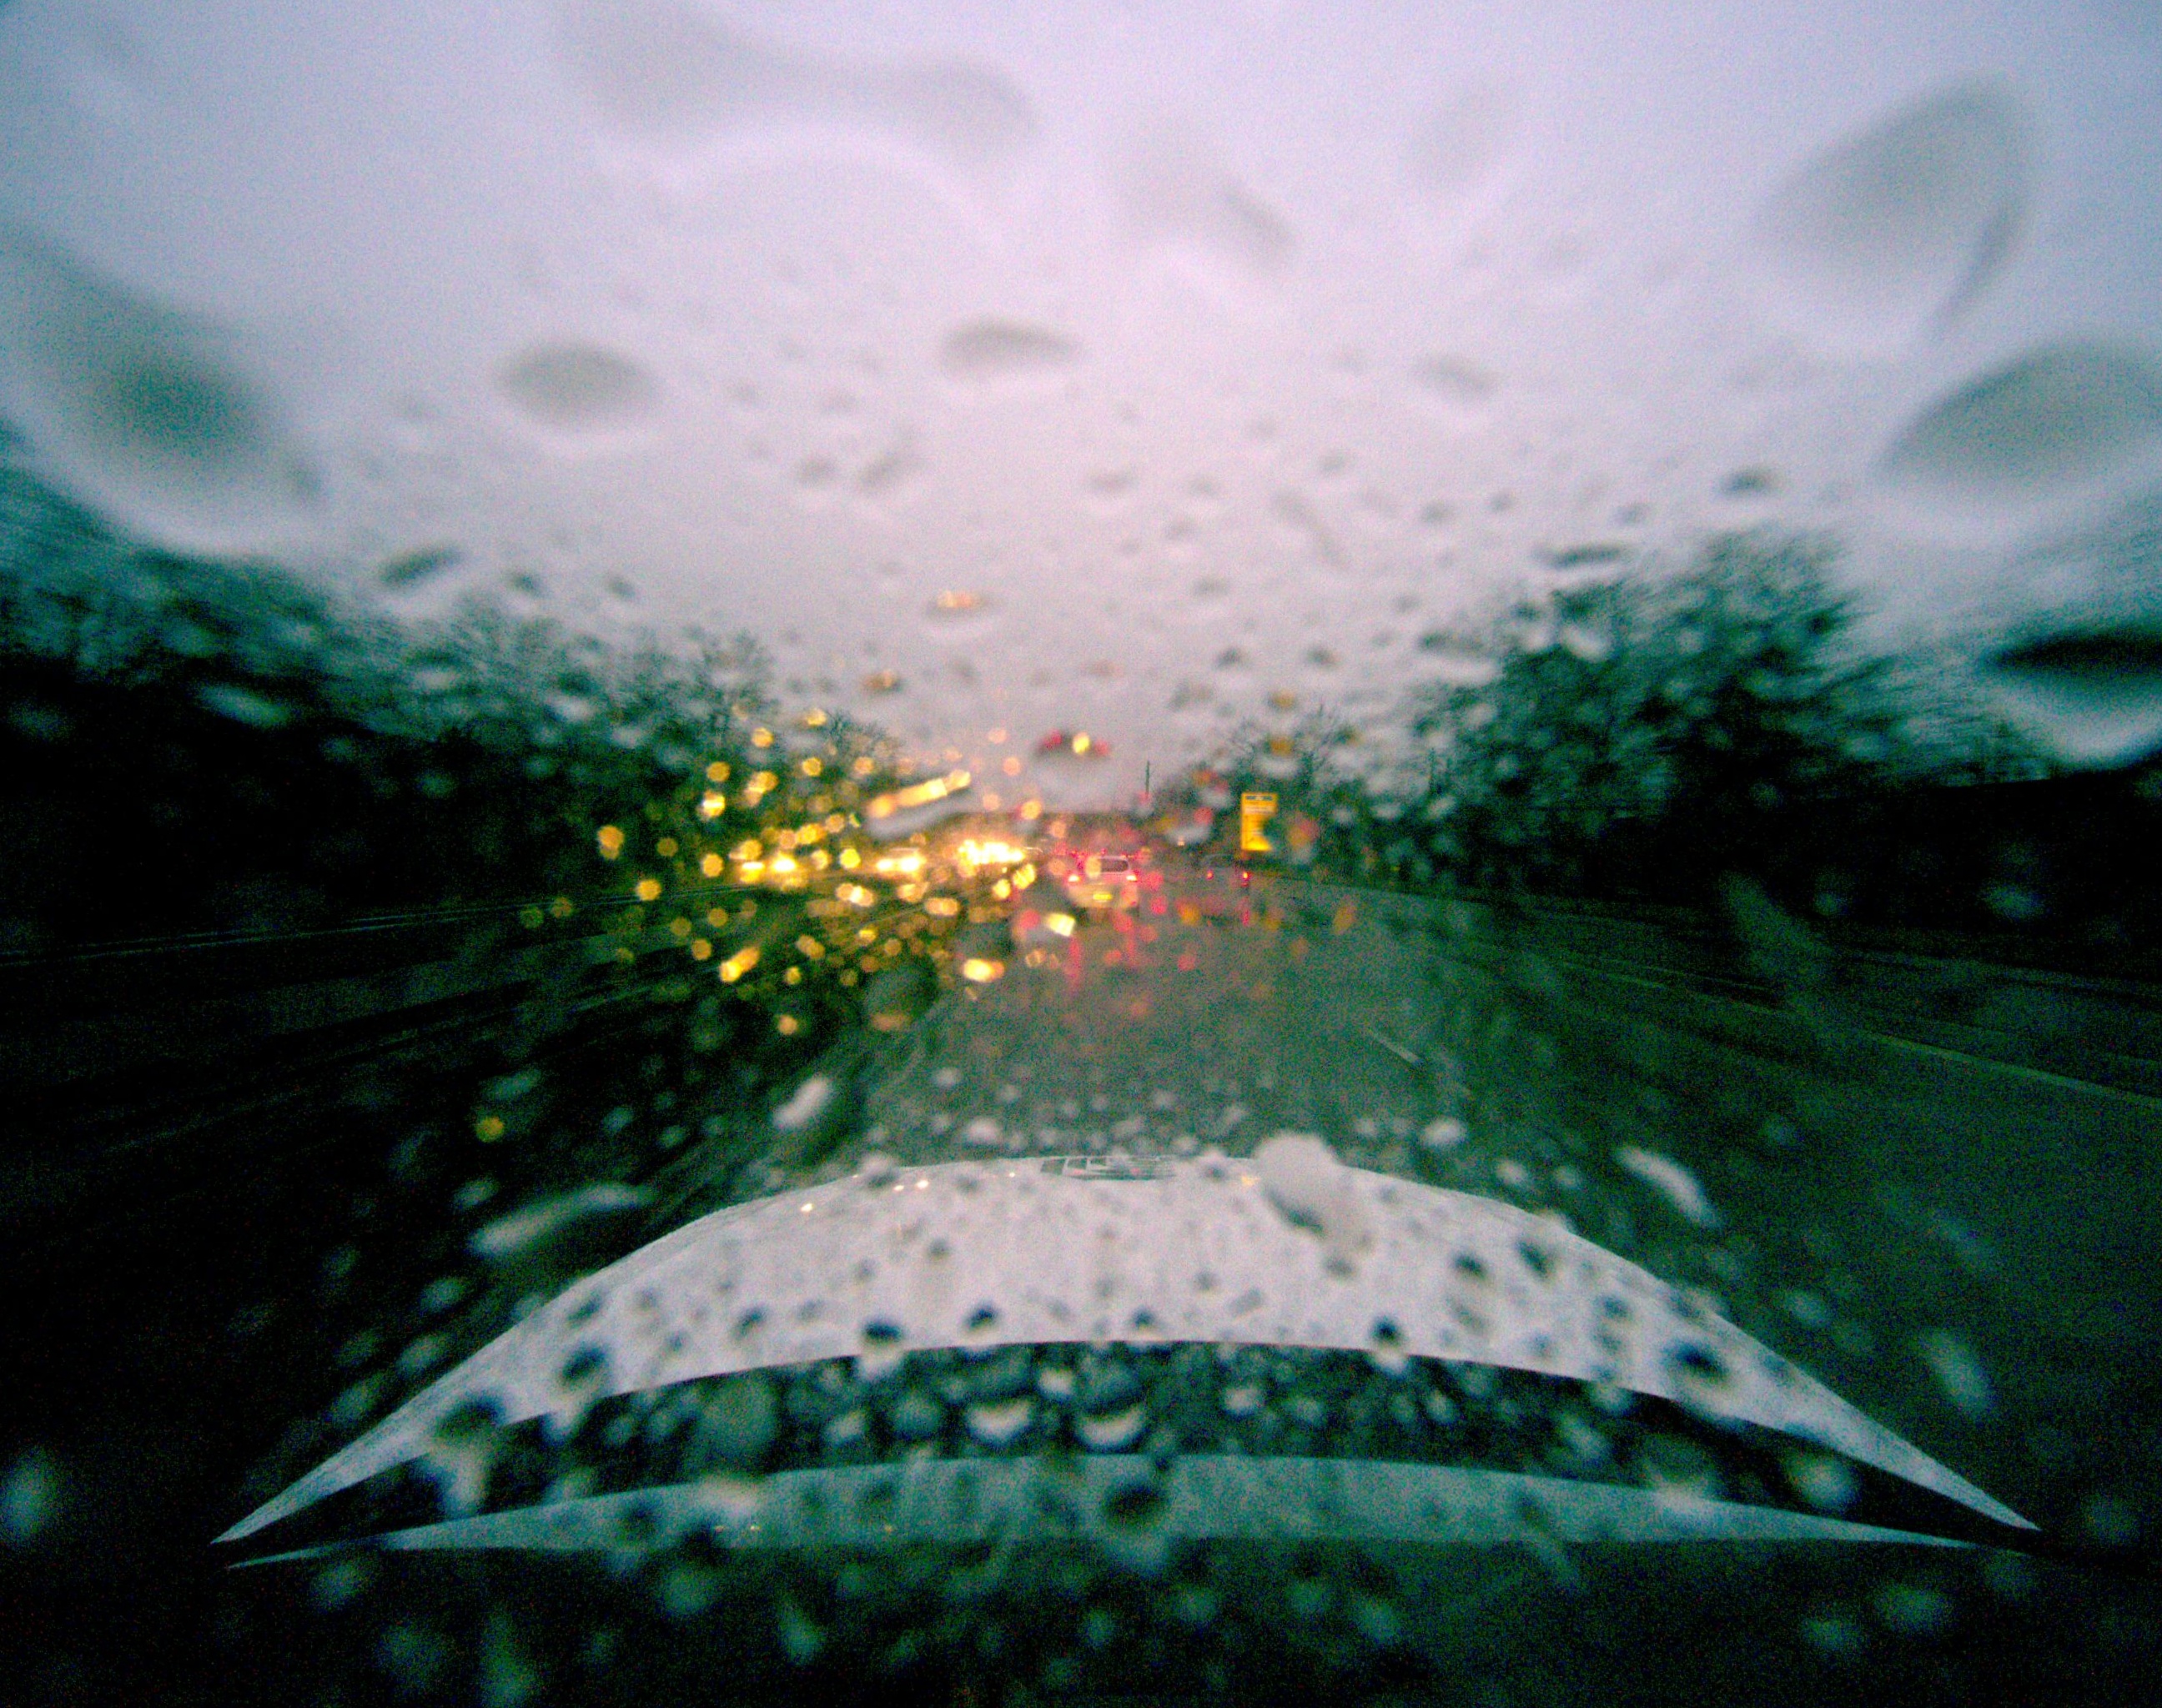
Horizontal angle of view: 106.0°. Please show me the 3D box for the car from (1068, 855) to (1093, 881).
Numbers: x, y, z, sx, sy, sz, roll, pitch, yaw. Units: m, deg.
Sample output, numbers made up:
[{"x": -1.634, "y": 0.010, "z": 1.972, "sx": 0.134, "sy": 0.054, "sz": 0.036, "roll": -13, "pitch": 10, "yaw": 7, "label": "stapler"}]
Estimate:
[{"x": -0.017, "y": 1.098, "z": 65.603, "sx": 1.987, "sy": 2.014, "sz": 4.000, "roll": 1, "pitch": 0, "yaw": 1, "label": "car"}]

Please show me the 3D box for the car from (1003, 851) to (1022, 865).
[{"x": -7.472, "y": 0.457, "z": 89.178, "sx": 1.748, "sy": 1.441, "sz": 4.000, "roll": 1, "pitch": 0, "yaw": 0, "label": "car"}]

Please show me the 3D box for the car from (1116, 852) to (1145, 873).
[{"x": 4.205, "y": 0.772, "z": 69.805, "sx": 1.928, "sy": 1.546, "sz": 3.769, "roll": -5, "pitch": -1, "yaw": -3, "label": "car"}]

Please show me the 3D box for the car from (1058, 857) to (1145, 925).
[{"x": 0.632, "y": 0.882, "z": 21.209, "sx": 2.016, "sy": 1.575, "sz": 4.004, "roll": 1, "pitch": 0, "yaw": 4, "label": "car"}]

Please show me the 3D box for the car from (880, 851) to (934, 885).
[{"x": -9.720, "y": 0.766, "z": 45.913, "sx": 1.876, "sy": 1.832, "sz": 4.788, "roll": 1, "pitch": 0, "yaw": 1, "label": "car"}]

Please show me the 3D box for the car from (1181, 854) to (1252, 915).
[{"x": 4.761, "y": 1.020, "z": 29.169, "sx": 1.926, "sy": 2.019, "sz": 3.773, "roll": 1, "pitch": 0, "yaw": 0, "label": "car"}]

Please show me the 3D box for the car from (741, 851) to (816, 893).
[{"x": -14.261, "y": 0.818, "z": 38.664, "sx": 1.875, "sy": 1.832, "sz": 4.783, "roll": 1, "pitch": 0, "yaw": -2, "label": "car"}]
